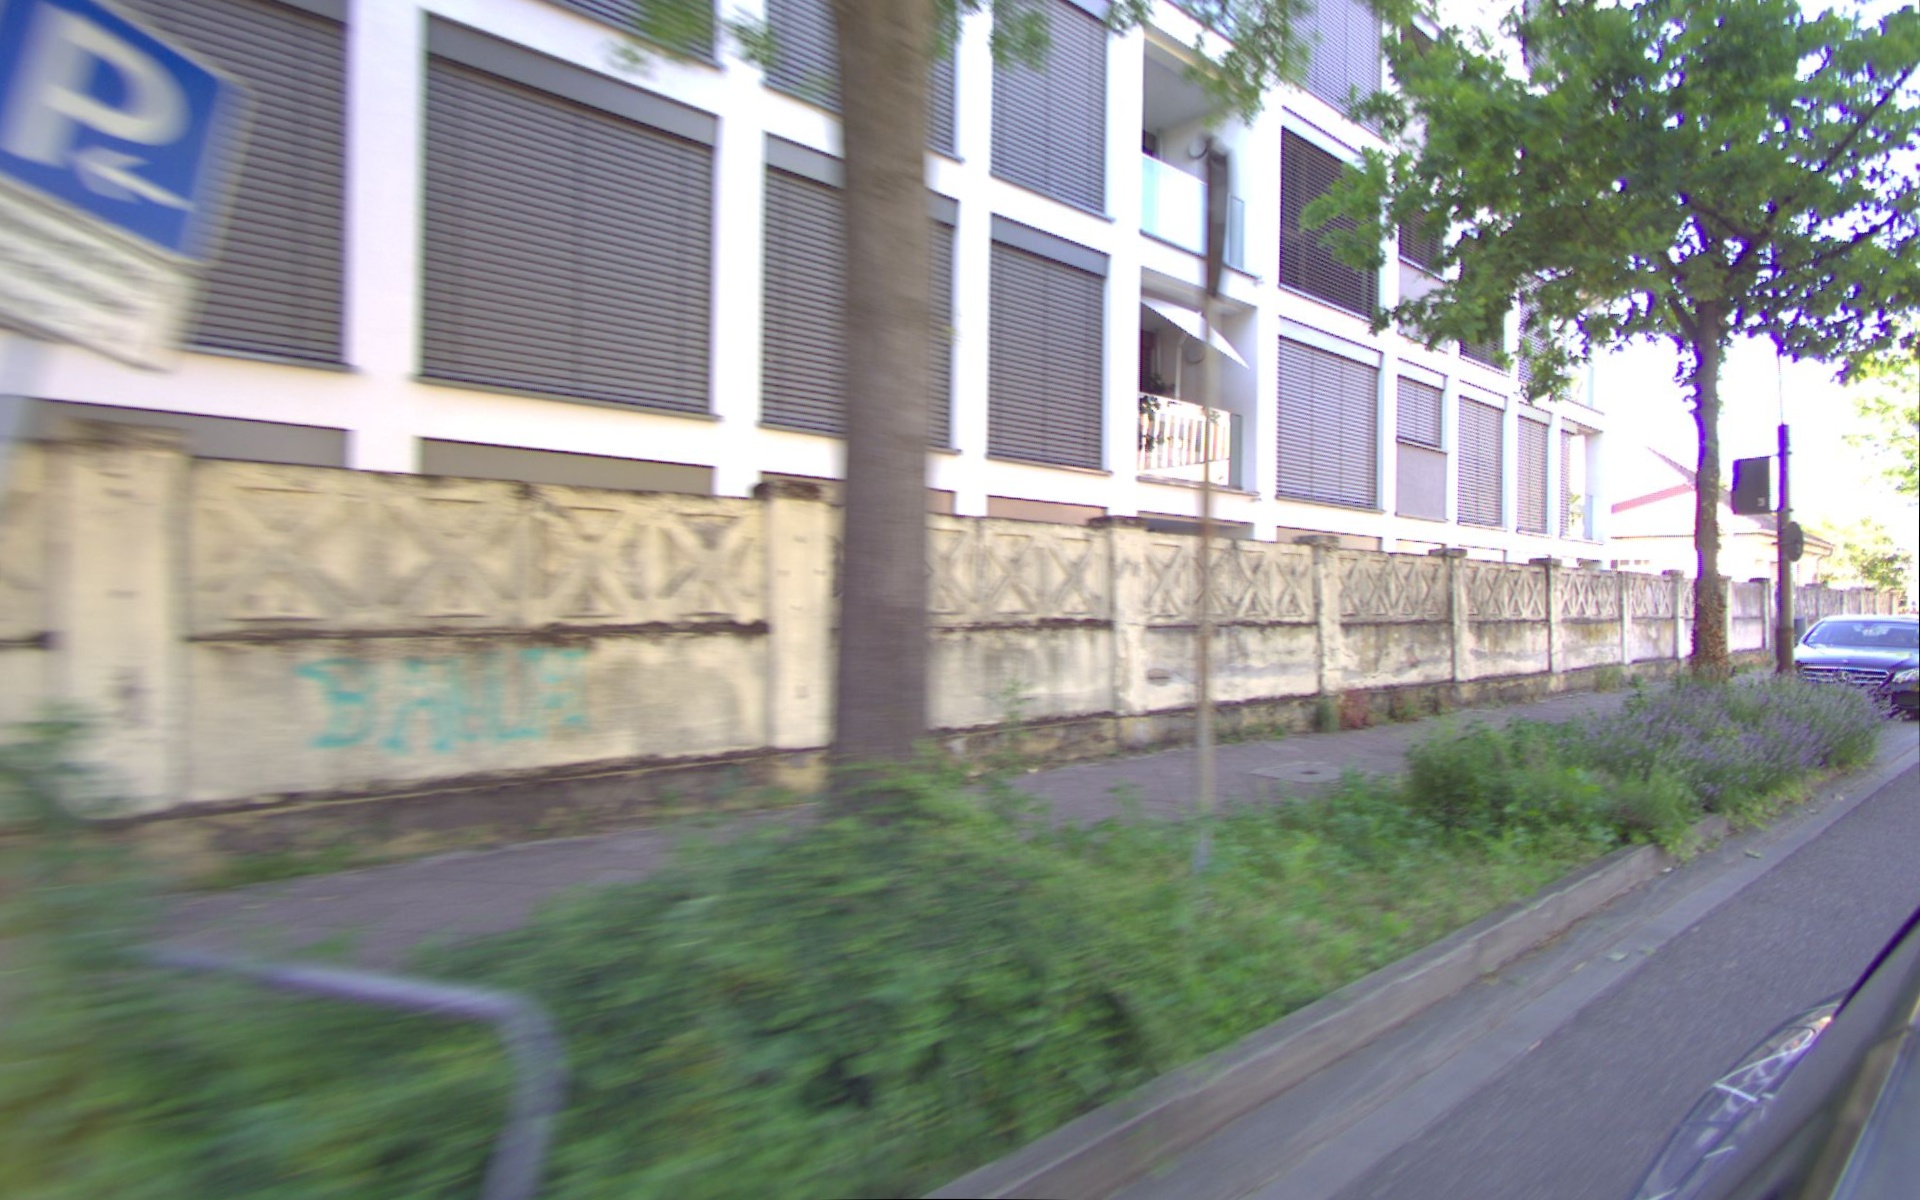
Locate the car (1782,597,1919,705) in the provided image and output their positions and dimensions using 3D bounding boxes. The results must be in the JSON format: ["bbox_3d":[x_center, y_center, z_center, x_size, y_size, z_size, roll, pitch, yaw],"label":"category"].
[{"bbox_3d":[14.236,0.702,15.502,4.678,1.428,1.723,1,0,-40],"label":"car"}]

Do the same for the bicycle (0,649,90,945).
[{"bbox_3d":[-4.088,0.725,3.366,1.799,1.054,0.337,0,0,-41],"label":"bicycle"}]
